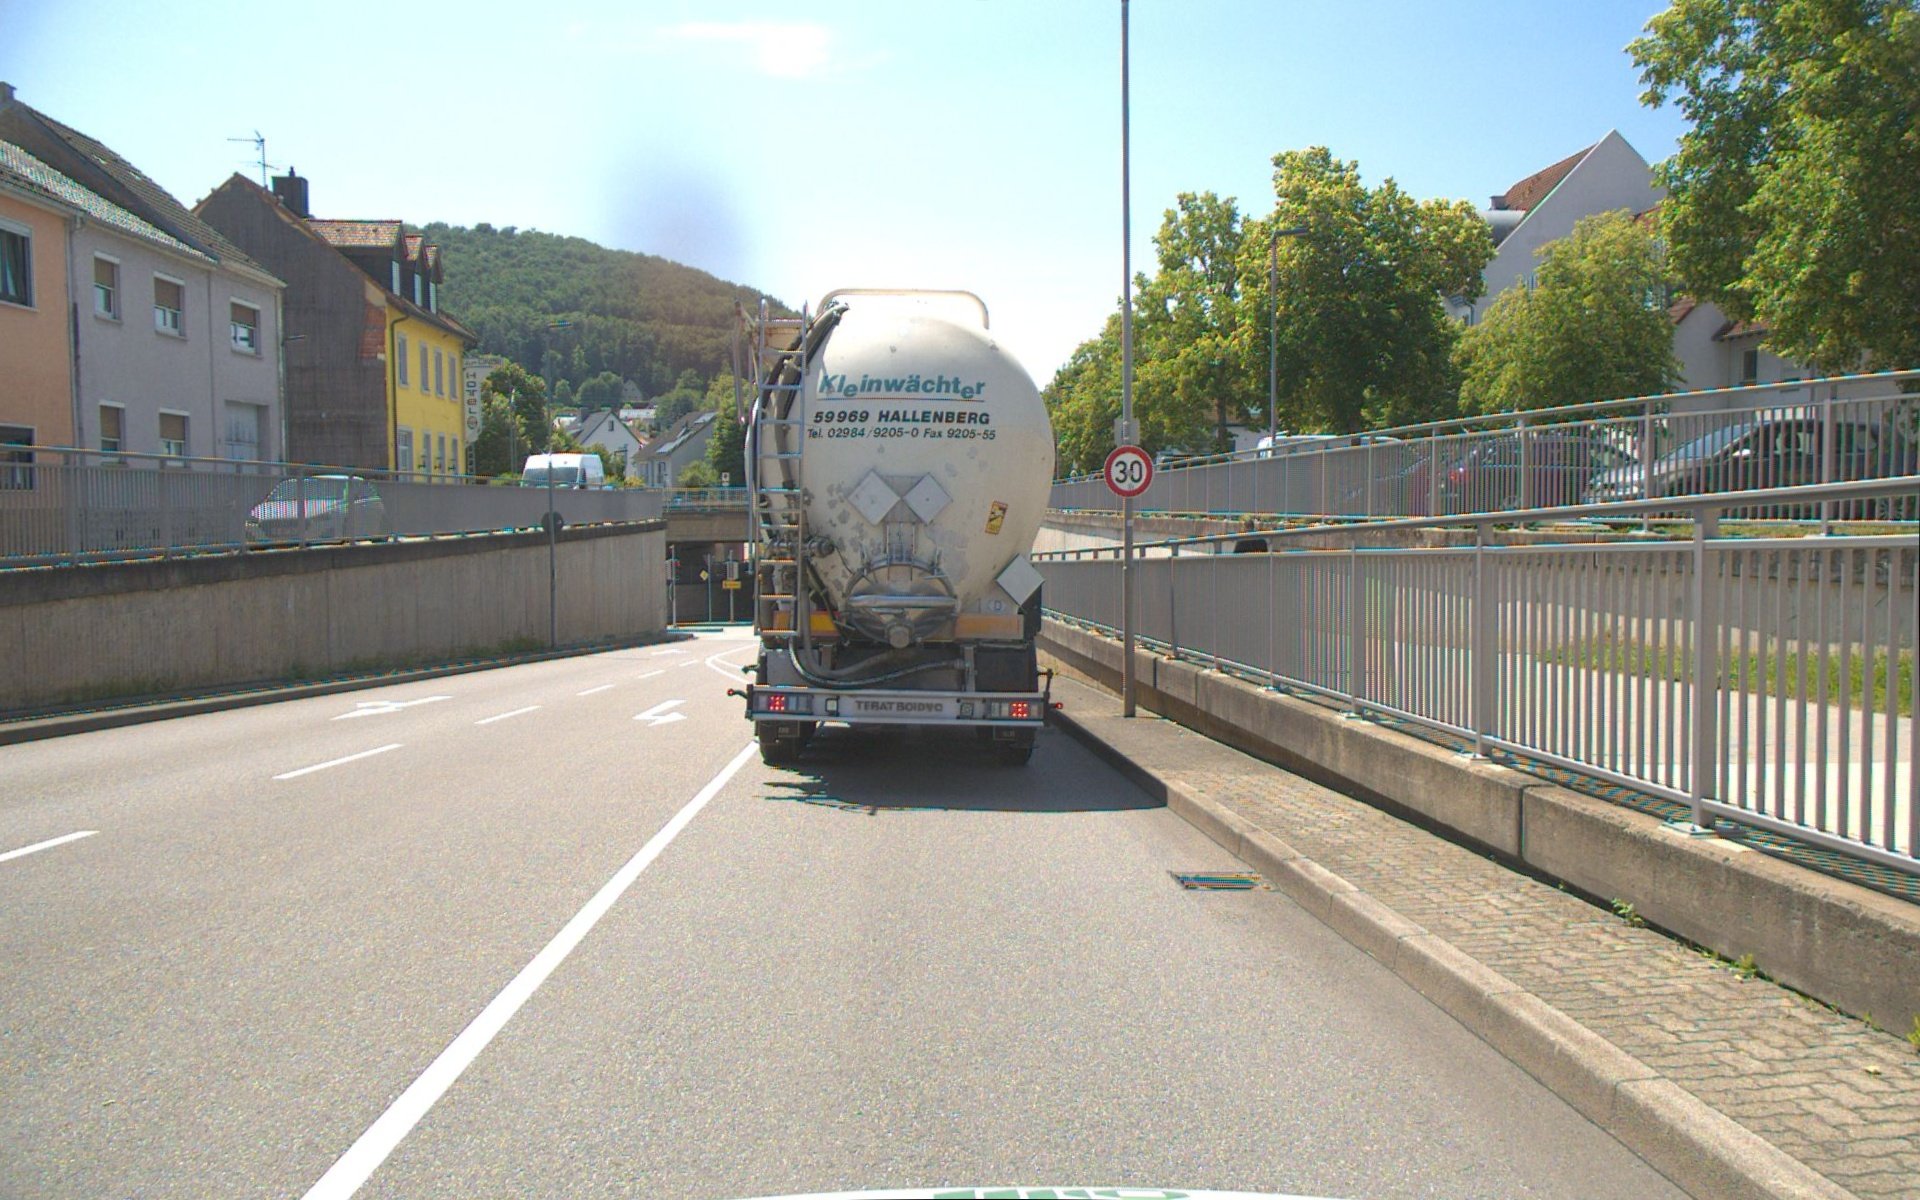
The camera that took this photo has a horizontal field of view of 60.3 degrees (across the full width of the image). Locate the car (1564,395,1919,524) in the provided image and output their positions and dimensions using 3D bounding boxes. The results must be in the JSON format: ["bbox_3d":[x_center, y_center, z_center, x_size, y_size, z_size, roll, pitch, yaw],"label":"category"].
[{"bbox_3d":[9.951,-1.763,21.046,3.906,1.524,1.749,-1,3,-2],"label":"car"}]

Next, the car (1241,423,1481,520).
[{"bbox_3d":[9.130,-2.931,37.910,5.009,2.099,1.989,-1,3,-2],"label":"car"}]

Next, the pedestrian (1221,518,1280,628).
[{"bbox_3d":[4.898,-0.460,27.915,0.819,1.813,0.788,-1,1,-2],"label":"pedestrian"}]

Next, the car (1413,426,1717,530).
[{"bbox_3d":[9.346,-1.885,25.760,4.119,1.524,1.686,-1,3,-2],"label":"car"}]

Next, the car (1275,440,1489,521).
[{"bbox_3d":[8.908,-2.517,35.129,4.119,1.623,1.686,-1,3,-2],"label":"car"}]

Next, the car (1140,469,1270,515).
[{"bbox_3d":[7.696,-3.395,52.185,3.826,1.391,1.686,-1,3,-2],"label":"car"}]

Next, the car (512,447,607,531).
[{"bbox_3d":[-13.147,-3.645,54.642,2.024,2.580,5.660,1,3,-3],"label":"car"}]

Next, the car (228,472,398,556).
[{"bbox_3d":[-12.381,-1.675,31.939,1.777,1.487,4.309,1,3,-3],"label":"car"}]

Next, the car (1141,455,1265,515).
[{"bbox_3d":[8.031,-3.808,54.789,3.826,1.917,1.686,-1,3,-2],"label":"car"}]

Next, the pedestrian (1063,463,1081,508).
[{"bbox_3d":[4.538,-4.644,67.010,0.659,1.810,0.594,-1,2,-1],"label":"pedestrian"}]

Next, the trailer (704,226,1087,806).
[{"bbox_3d":[-0.639,-0.631,18.641,2.680,4.135,13.308,1,0,-2],"label":"trailer"}]
